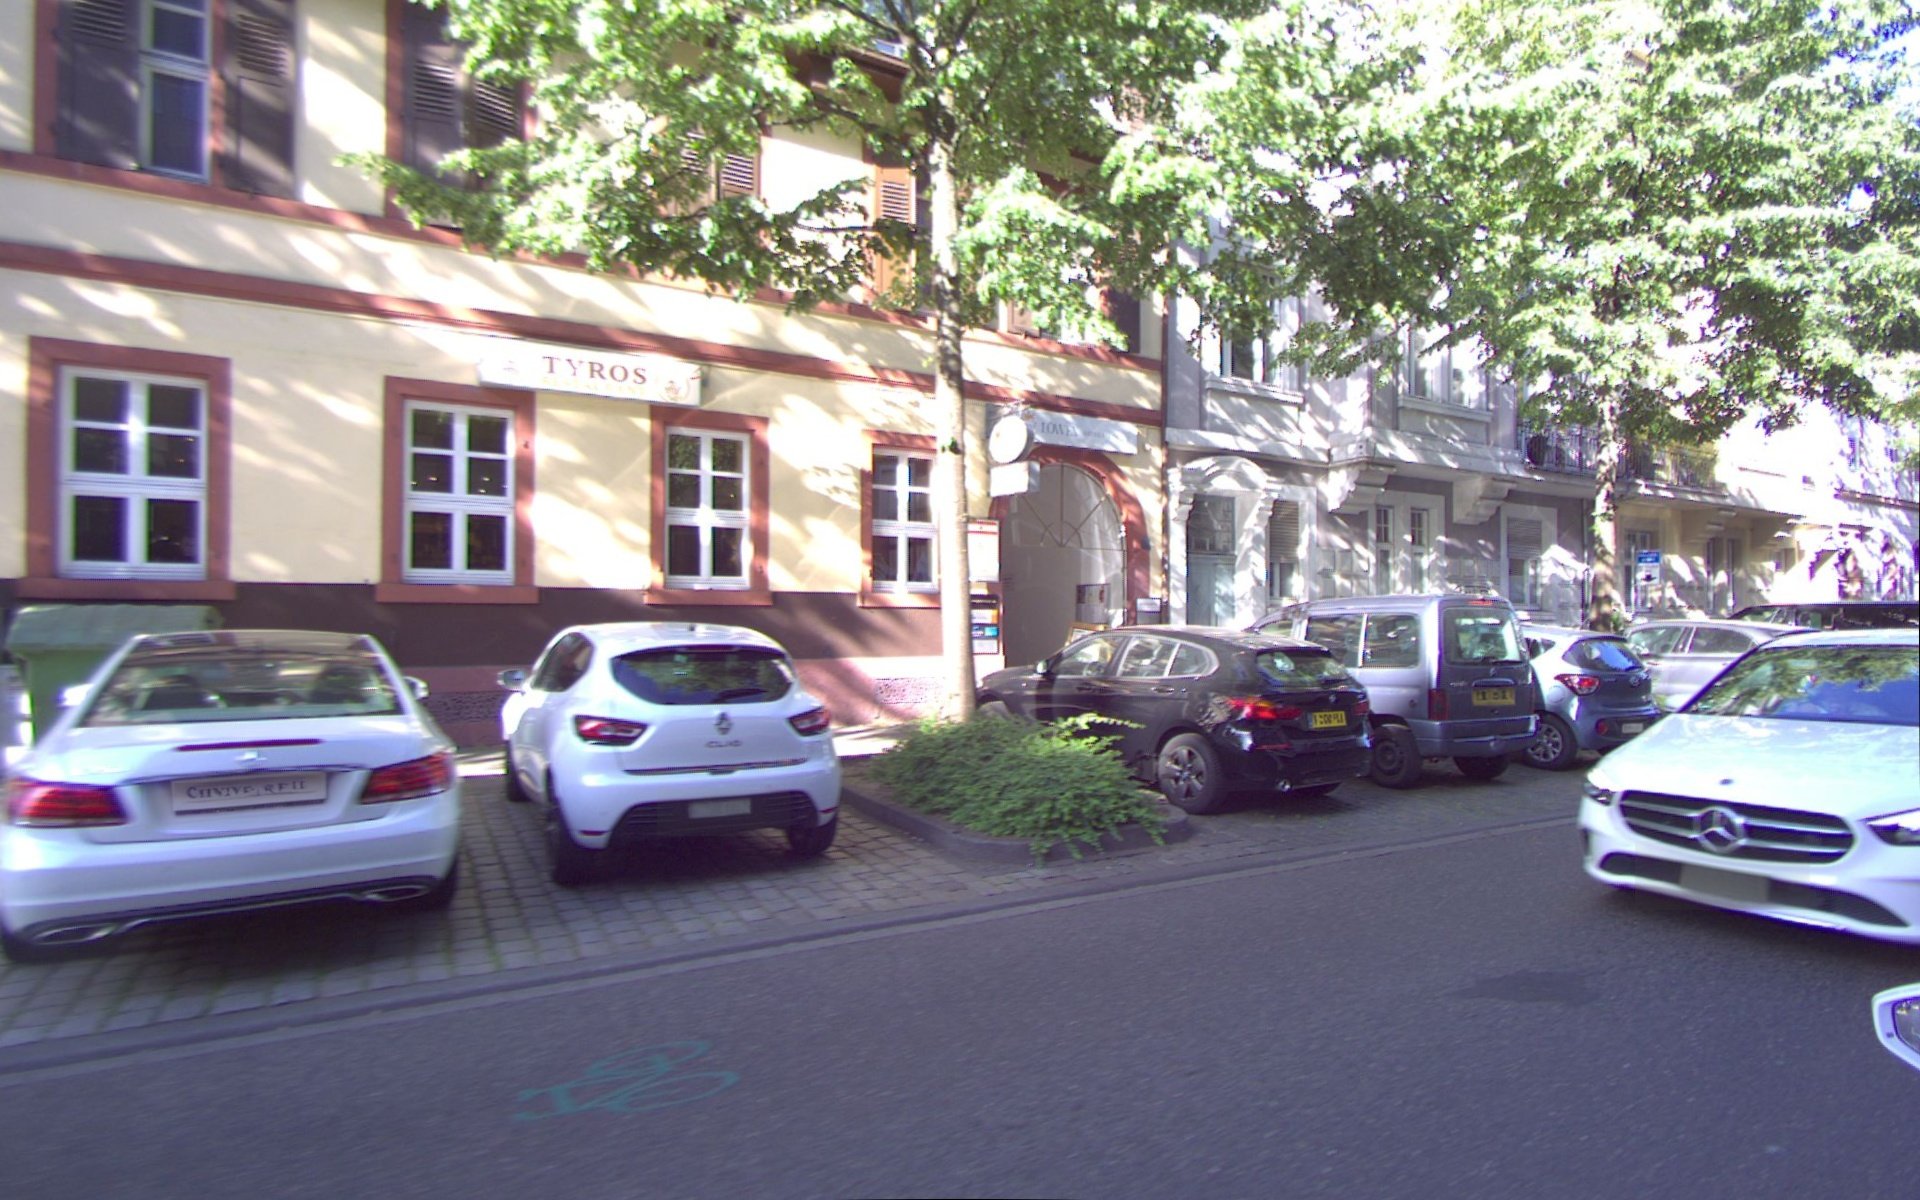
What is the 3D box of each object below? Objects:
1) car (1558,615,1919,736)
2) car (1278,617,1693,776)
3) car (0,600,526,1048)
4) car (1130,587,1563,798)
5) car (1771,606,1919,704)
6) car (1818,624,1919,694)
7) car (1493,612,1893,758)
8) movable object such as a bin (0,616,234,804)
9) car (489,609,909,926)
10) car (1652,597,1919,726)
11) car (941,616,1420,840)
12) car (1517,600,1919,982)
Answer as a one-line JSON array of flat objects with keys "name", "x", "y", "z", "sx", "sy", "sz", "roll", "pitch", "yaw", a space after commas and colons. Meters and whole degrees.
[{"name": "car", "x": 12.230, "y": 1.065, "z": 15.975, "sx": 1.895, "sy": 1.616, "sz": 4.316, "roll": 1, "pitch": -1, "yaw": -32}, {"name": "car", "x": 6.212, "y": 1.019, "z": 12.475, "sx": 1.891, "sy": 1.565, "sz": 4.326, "roll": 1, "pitch": -1, "yaw": -25}, {"name": "car", "x": -4.094, "y": 0.819, "z": 5.877, "sx": 1.980, "sy": 1.512, "sz": 4.669, "roll": 2, "pitch": -1, "yaw": -34}, {"name": "car", "x": 3.982, "y": 0.836, "z": 11.159, "sx": 1.906, "sy": 1.848, "sz": 4.322, "roll": 1, "pitch": -1, "yaw": -28}, {"name": "car", "x": 18.933, "y": 1.072, "z": 19.818, "sx": 1.901, "sy": 1.858, "sz": 4.304, "roll": 1, "pitch": -1, "yaw": -39}, {"name": "car", "x": 21.304, "y": 1.278, "z": 21.345, "sx": 1.895, "sy": 1.458, "sz": 4.316, "roll": 1, "pitch": -1, "yaw": -31}, {"name": "car", "x": 10.346, "y": 1.065, "z": 14.538, "sx": 1.895, "sy": 1.756, "sz": 4.316, "roll": 1, "pitch": -1, "yaw": -32}, {"name": "movable object such as a bin", "x": -7.226, "y": 0.884, "z": 8.668, "sx": 1.364, "sy": 1.464, "sz": 1.129, "roll": 1, "pitch": -1, "yaw": -27}, {"name": "car", "x": -2.305, "y": 0.874, "z": 7.623, "sx": 1.976, "sy": 1.512, "sz": 4.678, "roll": 0, "pitch": 1, "yaw": -29}, {"name": "car", "x": 14.623, "y": 0.950, "z": 16.924, "sx": 1.905, "sy": 1.952, "sz": 4.556, "roll": 1, "pitch": -1, "yaw": -27}, {"name": "car", "x": 1.806, "y": 0.964, "z": 9.556, "sx": 1.944, "sy": 1.565, "sz": 4.312, "roll": 1, "pitch": -1, "yaw": -34}, {"name": "car", "x": 5.441, "y": 0.820, "z": 5.852, "sx": 4.301, "sy": 1.565, "sz": 1.902, "roll": 1, "pitch": -1, "yaw": -30}]
